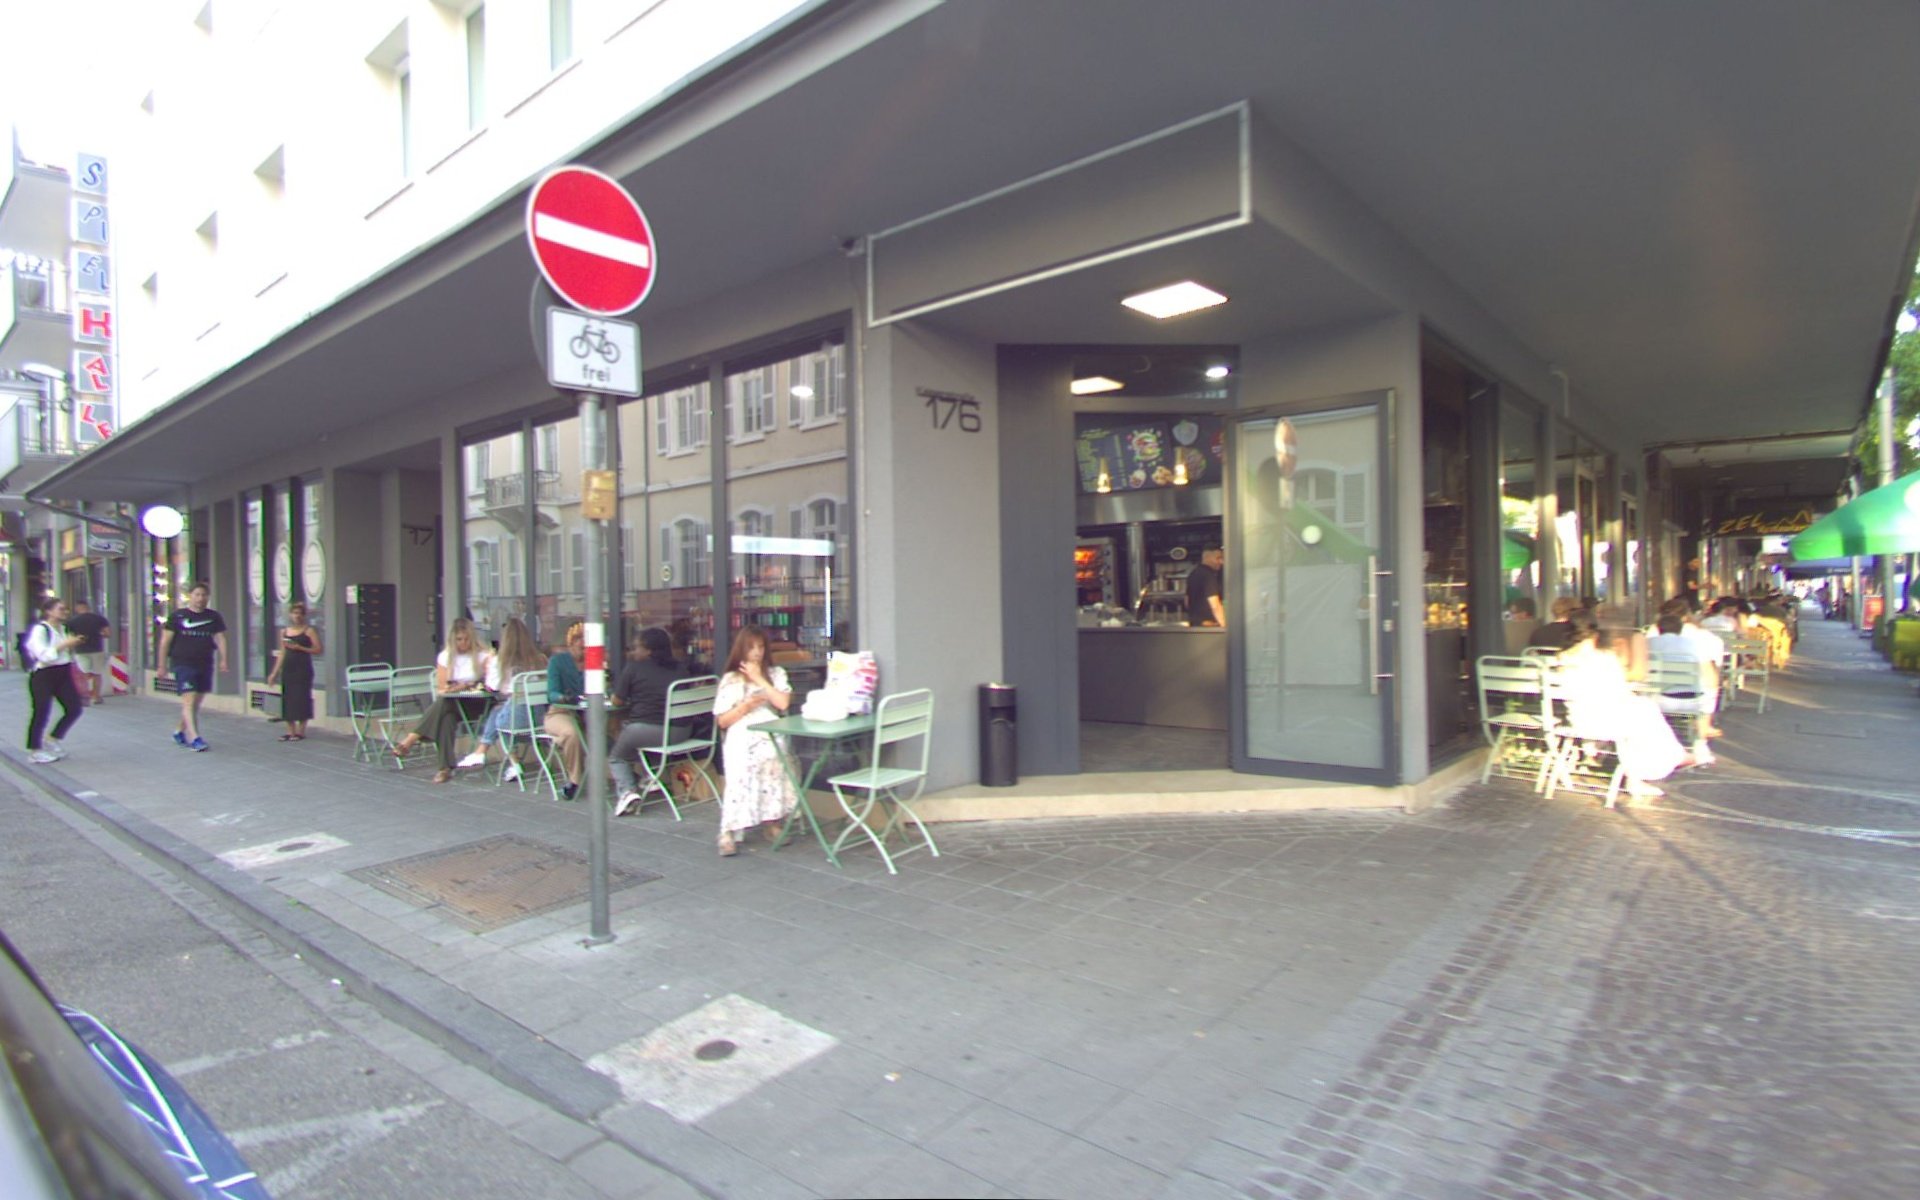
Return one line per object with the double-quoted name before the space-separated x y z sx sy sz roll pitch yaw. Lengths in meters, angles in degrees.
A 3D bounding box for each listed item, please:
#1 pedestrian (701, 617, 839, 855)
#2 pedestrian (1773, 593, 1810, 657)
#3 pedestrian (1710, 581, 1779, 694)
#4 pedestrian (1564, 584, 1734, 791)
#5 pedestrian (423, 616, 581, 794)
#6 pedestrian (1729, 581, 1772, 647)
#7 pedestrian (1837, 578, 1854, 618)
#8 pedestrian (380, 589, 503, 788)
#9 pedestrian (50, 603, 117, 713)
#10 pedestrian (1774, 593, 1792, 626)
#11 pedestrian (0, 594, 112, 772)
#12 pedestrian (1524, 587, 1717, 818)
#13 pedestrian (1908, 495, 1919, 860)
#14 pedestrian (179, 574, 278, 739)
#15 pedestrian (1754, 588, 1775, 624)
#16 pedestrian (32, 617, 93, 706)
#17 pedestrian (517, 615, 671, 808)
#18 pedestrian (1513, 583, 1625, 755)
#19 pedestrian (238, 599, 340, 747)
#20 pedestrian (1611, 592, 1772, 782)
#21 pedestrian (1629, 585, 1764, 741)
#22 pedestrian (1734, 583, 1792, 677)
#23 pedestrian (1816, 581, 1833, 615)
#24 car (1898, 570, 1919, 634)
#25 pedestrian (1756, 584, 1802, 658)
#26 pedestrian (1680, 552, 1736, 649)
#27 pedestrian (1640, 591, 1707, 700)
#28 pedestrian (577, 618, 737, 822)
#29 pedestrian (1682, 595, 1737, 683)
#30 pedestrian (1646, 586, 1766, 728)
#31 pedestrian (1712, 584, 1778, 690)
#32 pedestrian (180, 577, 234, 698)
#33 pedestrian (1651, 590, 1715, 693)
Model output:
"pedestrian" -1.101 0.723 5.810 0.694 1.228 0.844 -2 0 -12
"pedestrian" 18.337 0.542 22.327 0.607 1.389 0.639 -1 -1 41
"pedestrian" 10.047 0.471 12.960 0.656 1.389 0.755 -1 -1 41
"pedestrian" 4.855 0.571 7.131 0.850 1.330 0.869 -1 -1 44
"pedestrian" -3.555 0.789 7.895 0.853 1.296 0.702 -2 0 16
"pedestrian" 17.043 0.291 21.815 0.692 1.389 0.755 -1 -1 41
"pedestrian" 37.749 -0.091 43.158 0.511 1.673 0.603 1 0 43
"pedestrian" -4.363 0.701 8.507 0.695 1.559 0.862 -1 -1 -42
"pedestrian" -14.862 0.961 17.159 0.932 1.795 0.697 -2 -1 40
"pedestrian" 32.203 0.356 39.591 0.512 1.251 0.652 3 1 40
"pedestrian" -9.508 0.842 10.538 0.781 1.753 0.752 -1 -3 28
"pedestrian" 4.206 0.595 6.443 0.888 1.330 0.869 -1 -1 44
"pedestrian" 4.955 0.368 4.539 0.773 1.754 0.639 0 -1 10
"pedestrian" -8.465 0.627 11.703 0.932 1.824 0.707 -2 -1 41
"pedestrian" 32.767 0.239 41.224 0.612 1.444 0.504 3 1 43
"pedestrian" -16.723 1.135 18.852 0.612 1.590 0.702 -2 1 37
"pedestrian" -2.642 0.761 7.303 0.778 1.249 0.696 -2 2 44
"pedestrian" 5.017 0.537 8.333 0.624 1.330 0.830 -1 -1 43
"pedestrian" -7.495 0.799 11.325 0.632 1.581 0.655 -2 0 15
"pedestrian" 5.571 0.614 7.708 0.888 1.330 0.869 -1 -1 44
"pedestrian" 6.757 0.547 9.282 0.888 1.330 0.869 -1 -1 44
"pedestrian" 12.233 0.451 15.422 0.656 1.389 0.755 -1 -1 41
"pedestrian" 37.181 -0.087 43.530 0.511 1.444 0.603 1 0 43
"car" 29.256 0.083 30.141 1.799 1.832 4.453 1 0 42
"pedestrian" 15.766 0.400 19.487 0.656 1.389 0.755 -1 -1 41
"pedestrian" 14.104 0.016 19.093 0.652 1.779 0.760 0 -1 22
"pedestrian" 9.489 0.586 13.451 0.656 1.389 0.755 -1 -1 41
"pedestrian" -2.008 0.752 6.714 0.691 1.204 0.696 -2 2 43
"pedestrian" 12.311 0.626 16.619 0.656 1.389 0.755 -1 -1 41
"pedestrian" 7.434 0.538 10.086 0.850 1.330 0.869 -1 -1 44
"pedestrian" 10.618 0.486 13.690 0.656 1.389 0.755 -1 -1 41
"pedestrian" -11.685 0.580 15.711 0.613 1.824 0.538 -2 -2 40
"pedestrian" 10.113 0.568 14.151 0.656 1.389 0.755 -1 -1 41
